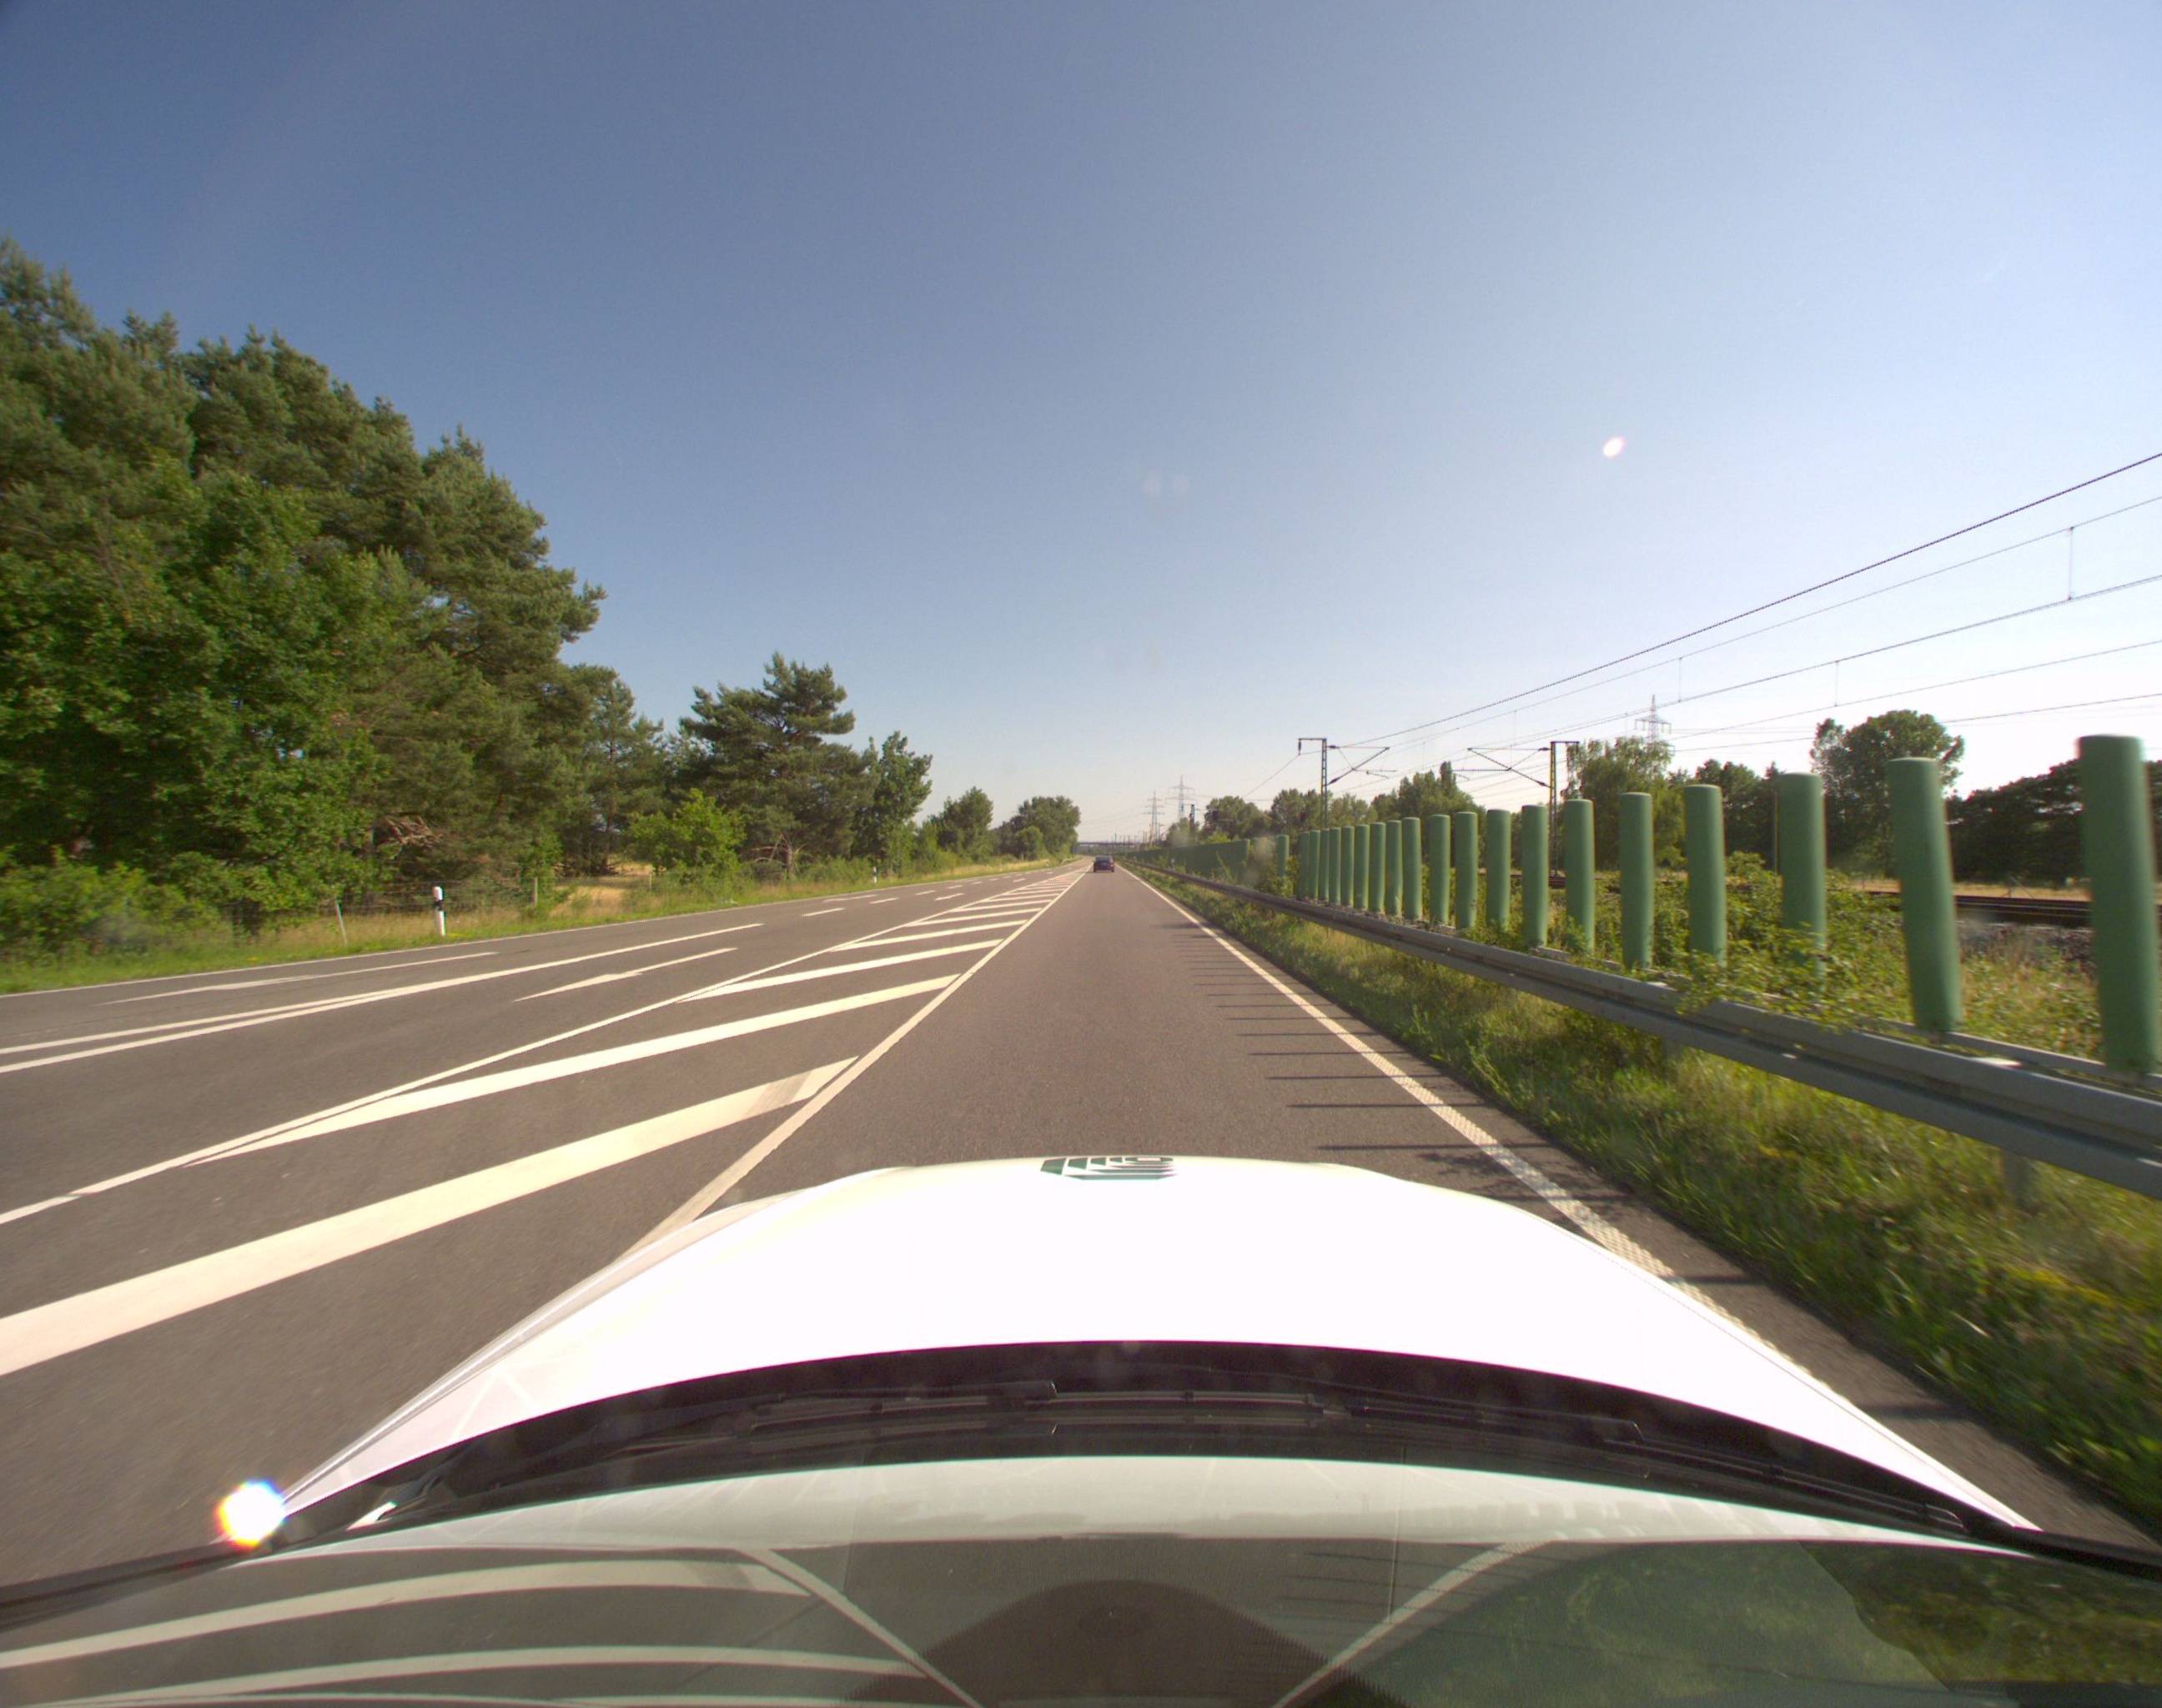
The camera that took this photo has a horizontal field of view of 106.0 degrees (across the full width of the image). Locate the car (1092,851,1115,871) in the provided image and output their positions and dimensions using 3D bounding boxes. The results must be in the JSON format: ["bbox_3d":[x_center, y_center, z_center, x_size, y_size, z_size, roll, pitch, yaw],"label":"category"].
[{"bbox_3d":[1.990,0.605,71.494,1.851,1.642,4.002,-2,0,2],"label":"car"}]
